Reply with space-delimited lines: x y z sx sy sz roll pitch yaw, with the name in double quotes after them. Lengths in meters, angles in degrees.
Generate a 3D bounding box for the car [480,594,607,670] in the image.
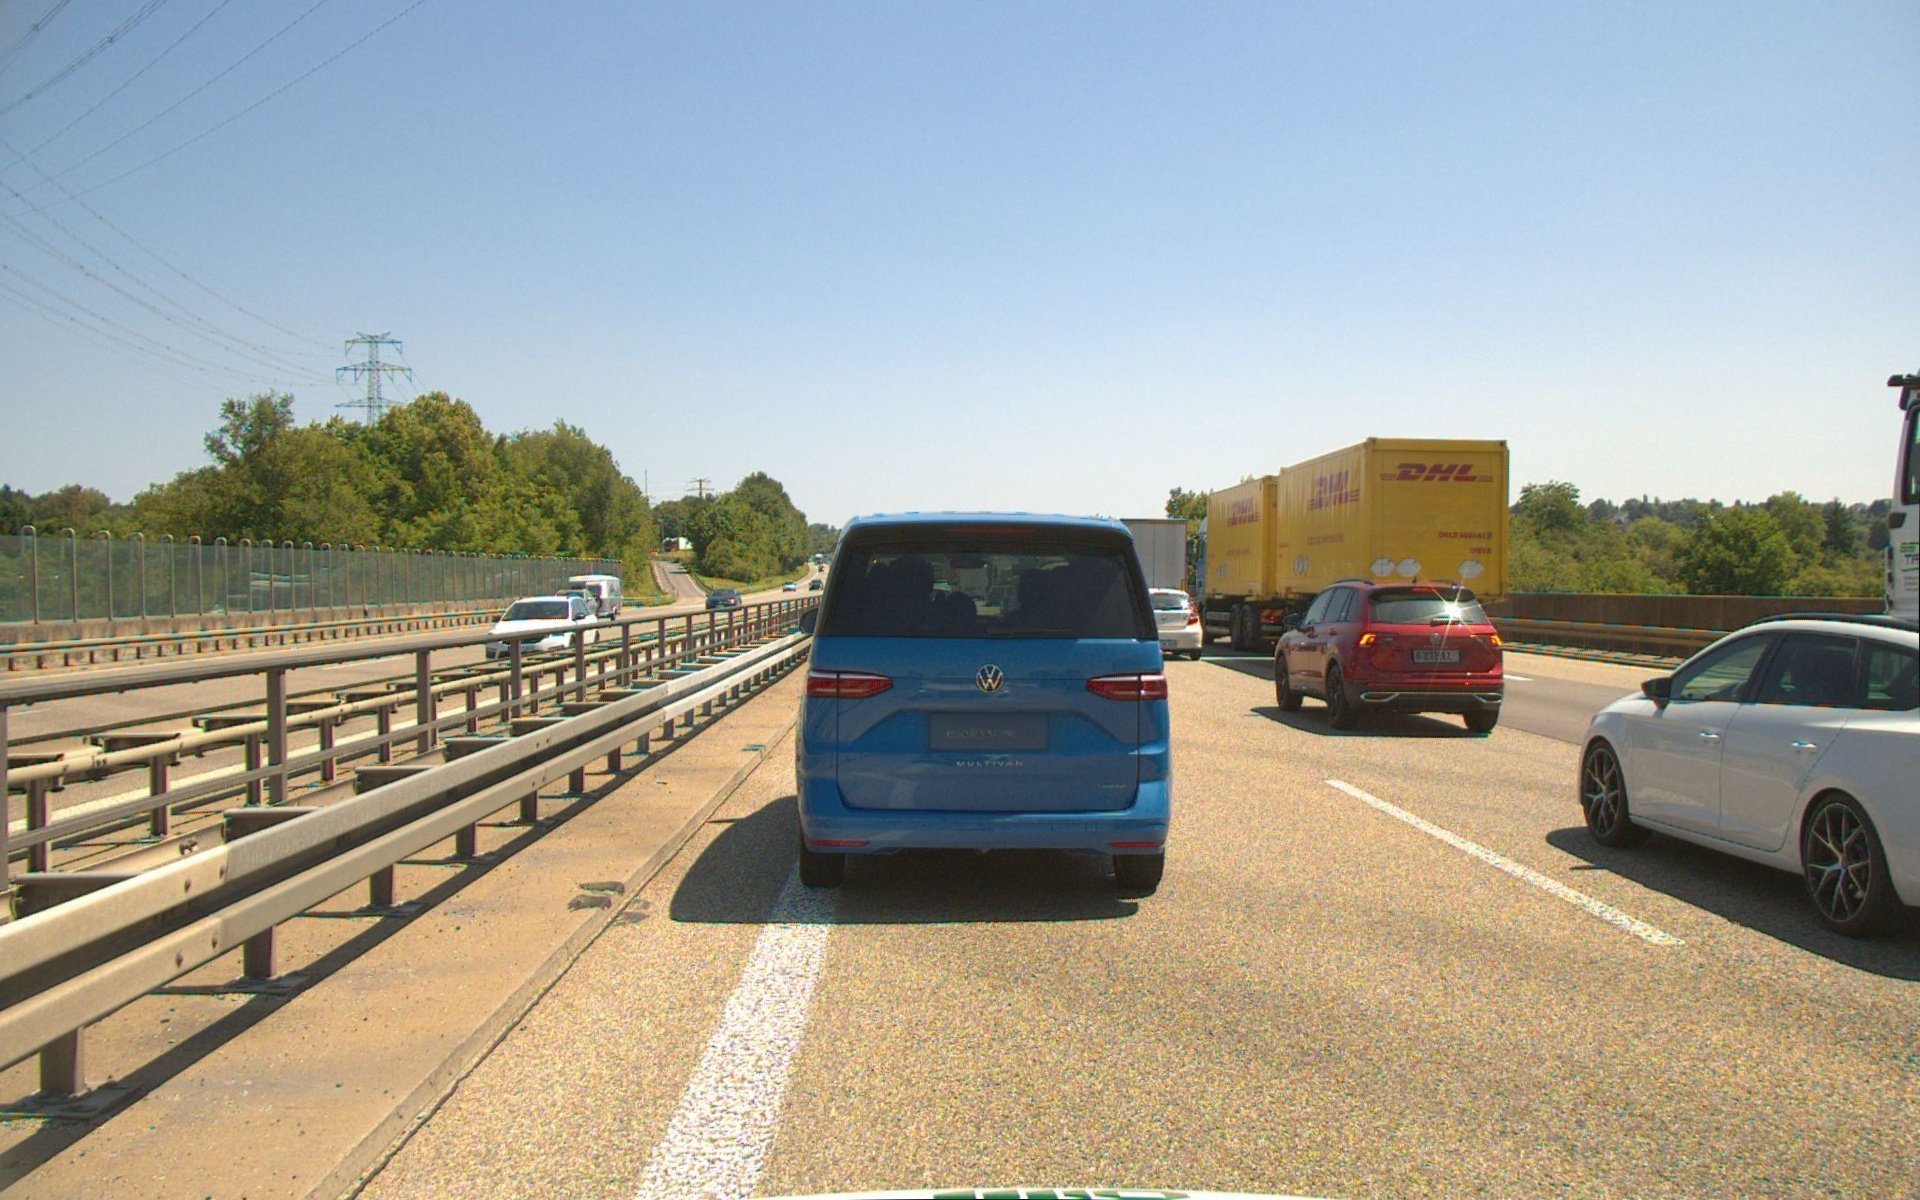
-8.930 0.645 35.806 1.722 1.474 4.285 -2 0 -2 "car"

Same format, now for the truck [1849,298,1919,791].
8.667 -0.367 7.820 2.793 3.665 10.765 1 0 -2 "truck"

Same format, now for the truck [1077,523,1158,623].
6.910 -1.131 73.407 2.712 4.167 6.982 1 0 -1 "truck"

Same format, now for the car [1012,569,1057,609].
3.143 -0.429 70.474 1.680 1.567 3.819 0 -1 -1 "car"

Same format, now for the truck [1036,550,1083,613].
6.173 -1.121 103.219 2.320 3.787 6.031 1 0 -2 "truck"

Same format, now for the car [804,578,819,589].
-19.960 -2.191 222.476 1.764 1.410 4.262 1 0 -1 "car"

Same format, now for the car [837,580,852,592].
-16.314 -1.999 233.705 1.803 1.556 3.557 -2 0 -1 "car"

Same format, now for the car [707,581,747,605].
-14.062 -0.440 100.109 1.818 1.422 4.674 0 1 -1 "car"

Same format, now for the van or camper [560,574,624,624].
-17.876 -0.058 80.540 1.953 2.250 5.535 -3 0 -2 "van or camper"

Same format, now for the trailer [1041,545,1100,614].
6.399 -1.136 97.124 2.331 3.809 11.184 1 0 -2 "trailer"

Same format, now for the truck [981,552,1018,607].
3.807 -1.919 162.321 2.777 5.128 11.140 1 0 -3 "truck"

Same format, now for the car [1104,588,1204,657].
4.183 0.453 36.243 1.800 1.438 4.001 0 0 1 "car"

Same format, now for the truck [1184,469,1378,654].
7.935 -0.861 42.437 2.667 4.125 10.333 1 0 -1 "truck"

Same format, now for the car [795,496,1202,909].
0.138 0.454 9.507 1.844 1.869 3.999 0 0 -1 "car"

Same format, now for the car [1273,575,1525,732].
4.984 0.539 19.343 1.813 1.636 3.999 0 1 -1 "car"

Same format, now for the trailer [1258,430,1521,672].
8.165 -0.829 32.795 2.647 4.094 8.927 1 0 -2 "trailer"

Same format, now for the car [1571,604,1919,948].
4.867 0.756 8.552 1.745 1.411 4.186 0 0 -2 "car"

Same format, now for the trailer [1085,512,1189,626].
7.041 -1.137 67.348 2.699 4.218 11.309 1 0 -1 "trailer"

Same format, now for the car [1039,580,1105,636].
3.350 0.256 50.039 1.680 1.614 3.820 0 -1 -1 "car"
